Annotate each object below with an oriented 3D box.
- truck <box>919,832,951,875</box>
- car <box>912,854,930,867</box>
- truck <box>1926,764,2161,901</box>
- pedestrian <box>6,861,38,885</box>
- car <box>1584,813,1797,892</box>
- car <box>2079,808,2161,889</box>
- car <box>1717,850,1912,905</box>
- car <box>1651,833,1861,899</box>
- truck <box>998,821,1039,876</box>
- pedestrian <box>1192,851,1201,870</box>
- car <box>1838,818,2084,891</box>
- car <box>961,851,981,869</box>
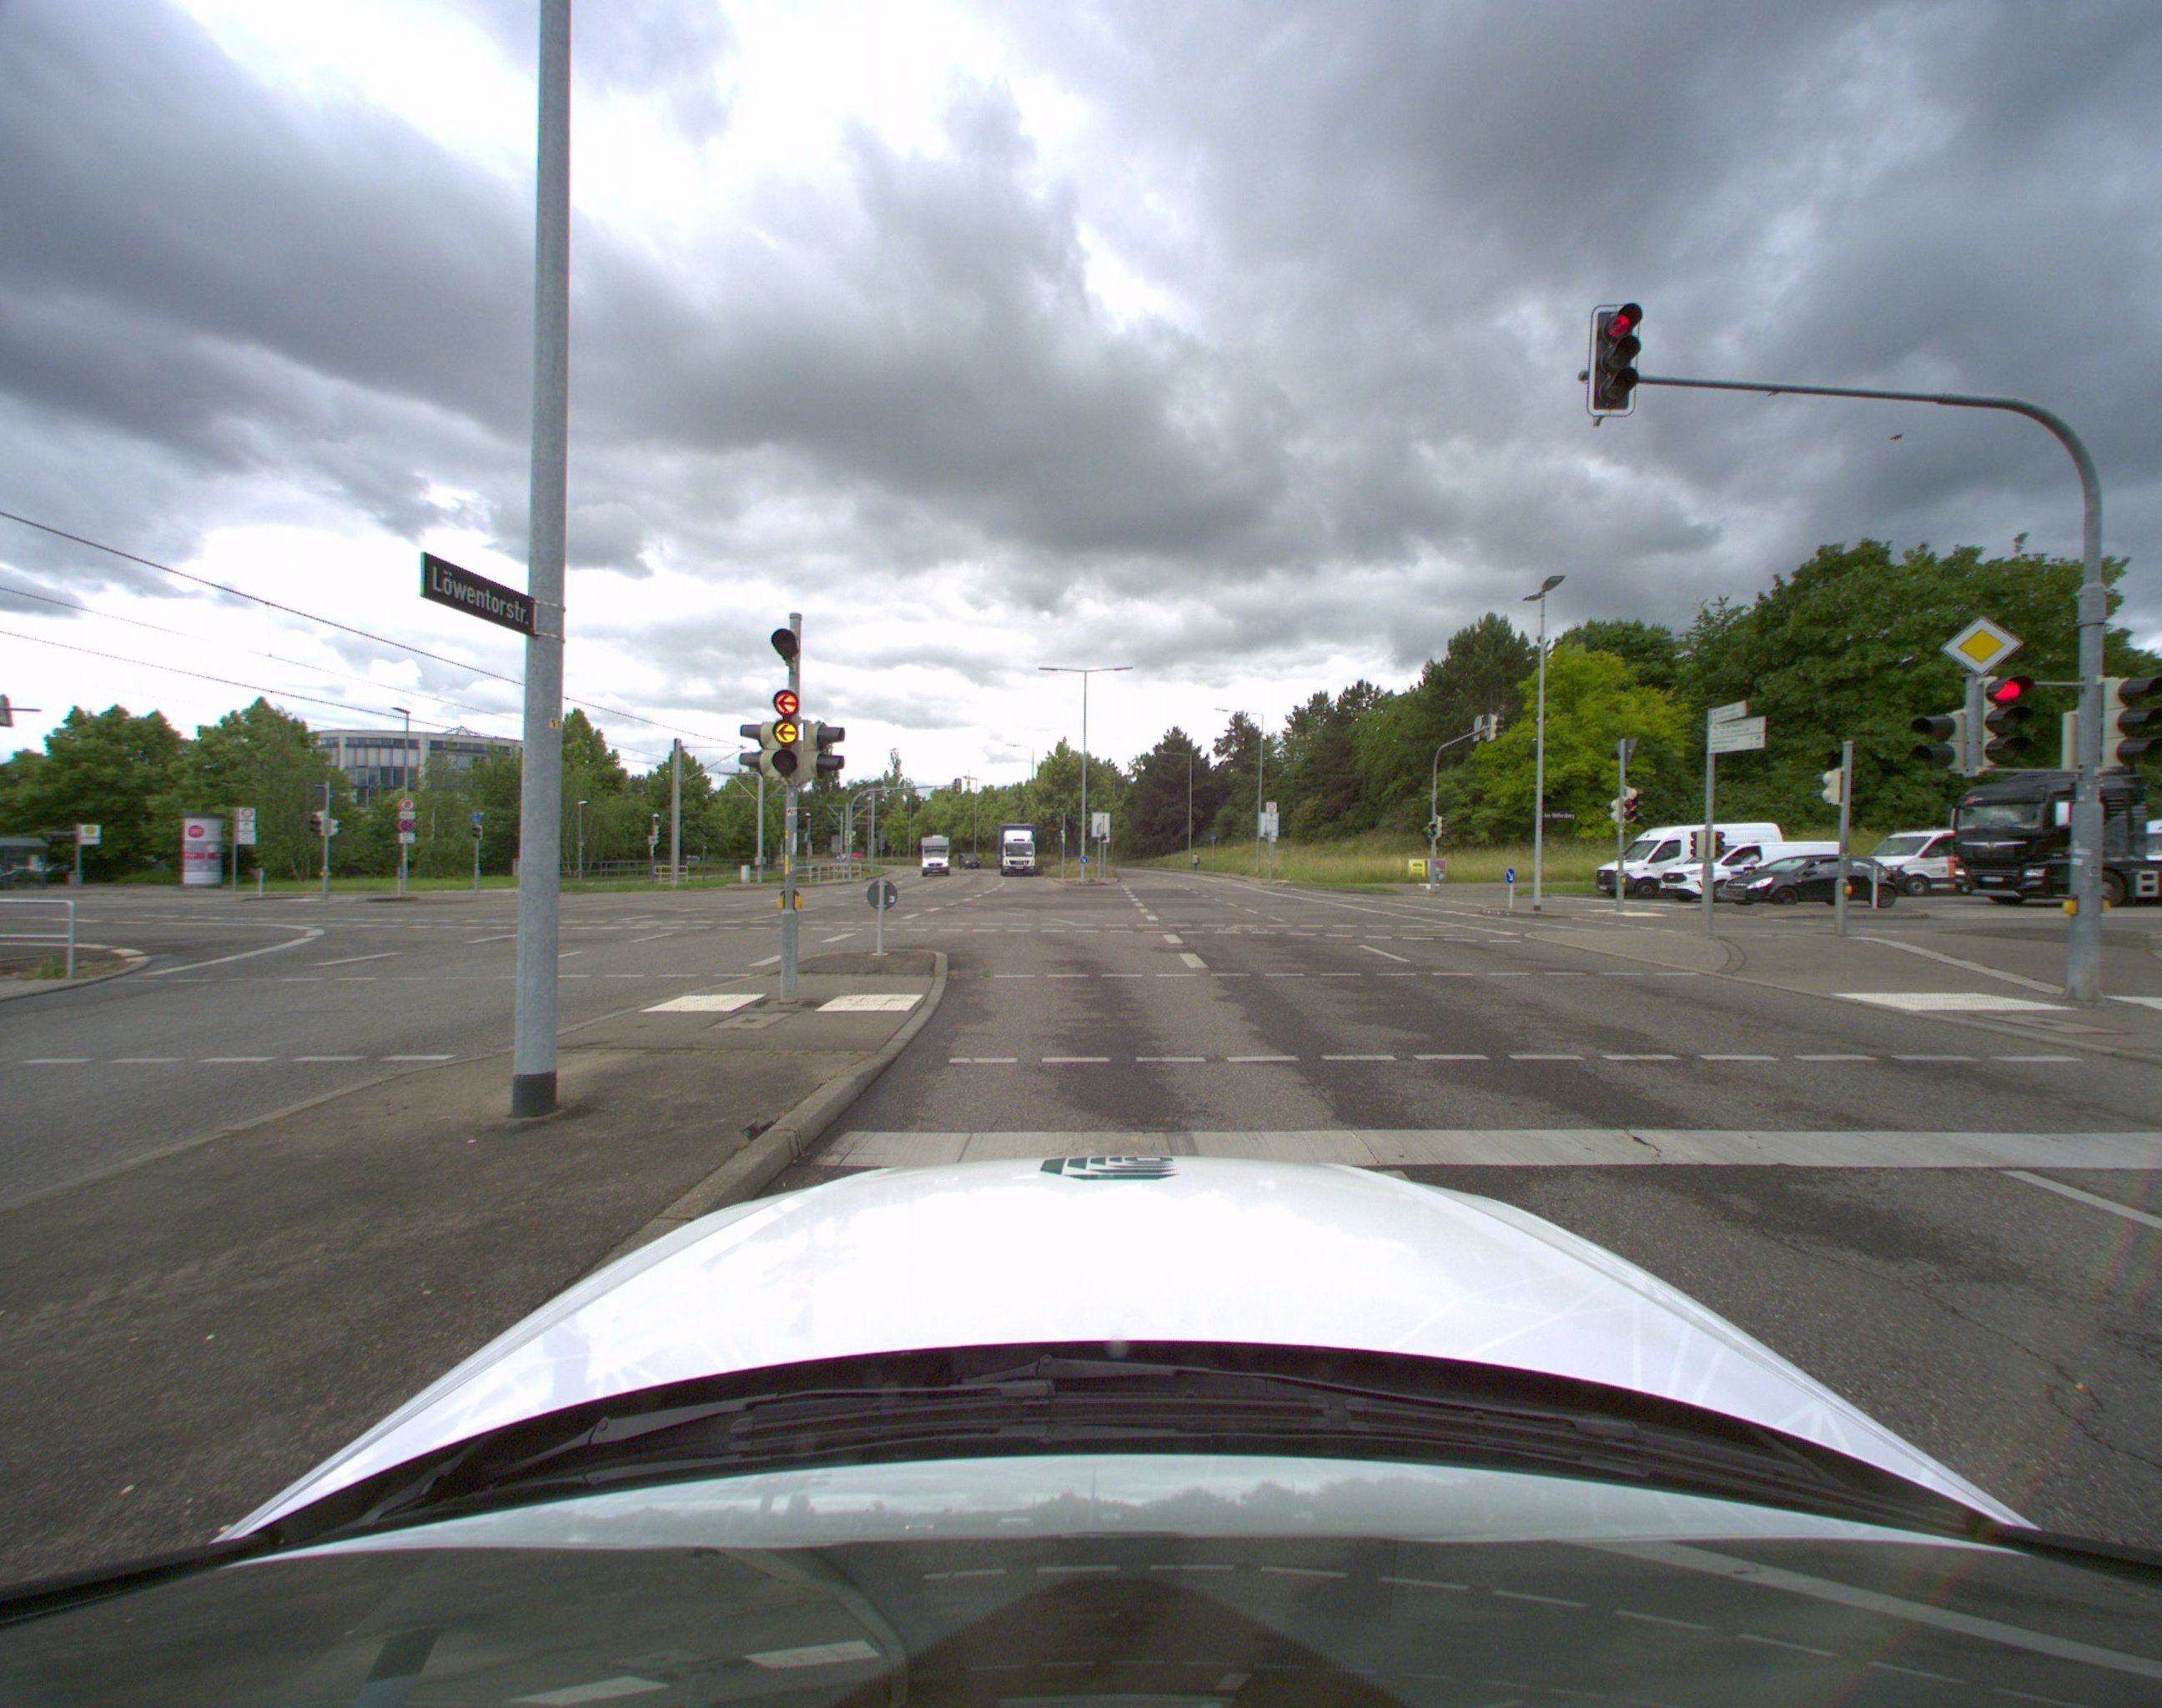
[{"bbox_3d":[-11.160,-0.034,62.386,2.105,3.010,6.252,-4,0,-10],"label":"truck"},{"bbox_3d":[-23.154,0.938,117.789,2.001,1.783,3.972,0,0,-21],"label":"car"},{"bbox_3d":[28.044,-0.539,22.529,5.915,3.518,3.077,-1,-1,3],"label":"truck"},{"bbox_3d":[-56.188,1.005,43.224,0.774,1.252,0.769,-1,0,-27],"label":"pedestrian"},{"bbox_3d":[21.893,-0.032,29.499,5.915,2.659,2.230,-1,-1,3],"label":"car"},{"bbox_3d":[39.816,-0.211,28.517,6.635,2.720,2.230,-1,-1,3],"label":"car"},{"bbox_3d":[20.279,0.632,22.637,3.836,1.442,1.638,-1,0,4],"label":"car"},{"bbox_3d":[21.650,0.407,26.309,4.952,1.991,2.121,-1,-2,2],"label":"car"},{"bbox_3d":[-4.782,-0.387,61.251,2.775,3.804,8.370,0,0,-6],"label":"truck"},{"bbox_3d":[10.411,0.569,73.259,0.736,1.717,0.625,0,0,1],"label":"pedestrian"},{"bbox_3d":[30.822,0.043,28.715,5.913,2.386,2.231,-1,-1,4],"label":"car"},{"bbox_3d":[-12.799,0.663,94.360,1.994,2.013,4.591,0,0,-11],"label":"car"}]
